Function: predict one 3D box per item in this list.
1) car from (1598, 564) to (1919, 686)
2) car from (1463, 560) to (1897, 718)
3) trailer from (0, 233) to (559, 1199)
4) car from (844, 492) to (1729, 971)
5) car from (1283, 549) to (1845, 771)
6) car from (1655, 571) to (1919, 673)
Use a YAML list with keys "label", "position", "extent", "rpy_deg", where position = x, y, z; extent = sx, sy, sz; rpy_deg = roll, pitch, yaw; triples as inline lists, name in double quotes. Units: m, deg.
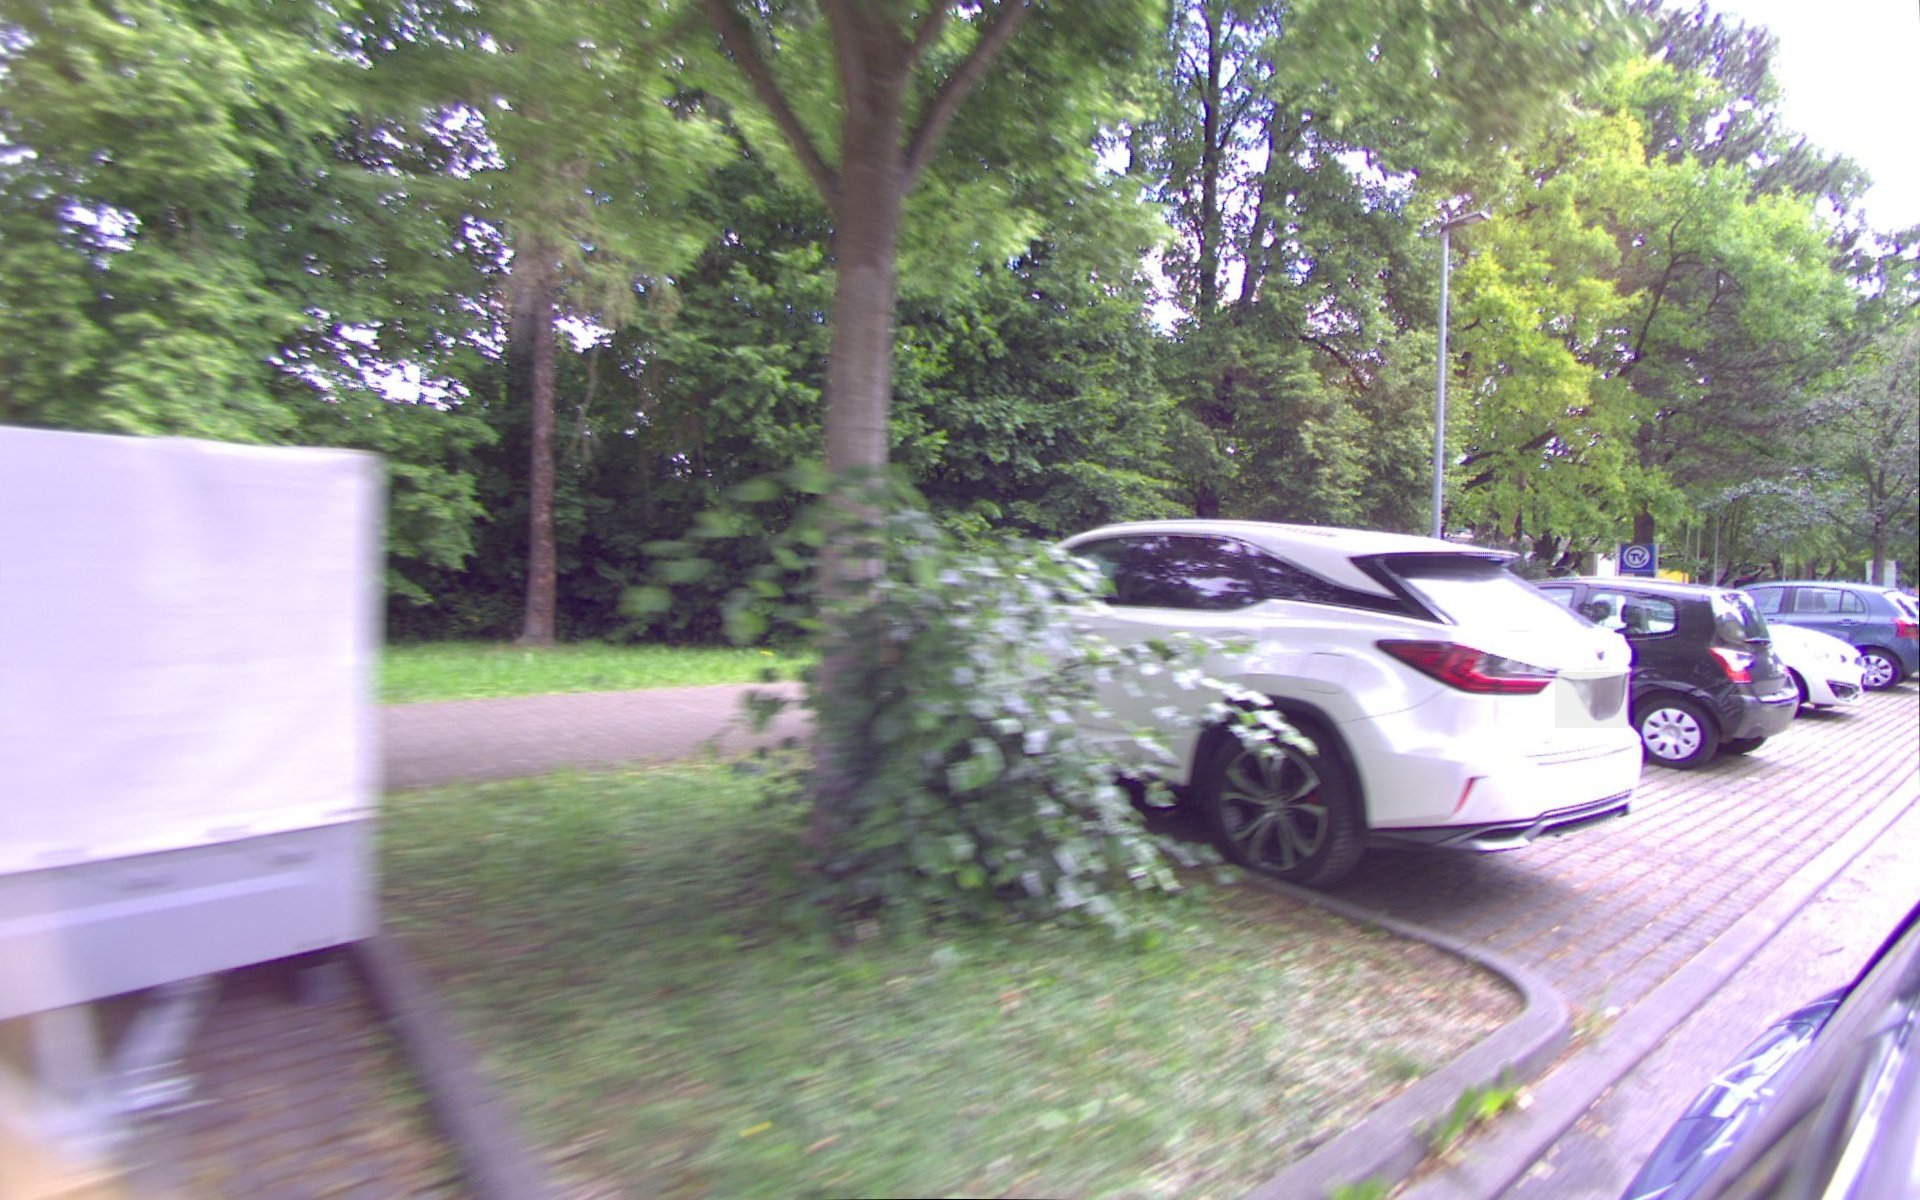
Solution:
- label: "car"
  position: [12.597, 0.280, 15.766]
  extent: [1.755, 1.589, 4.143]
  rpy_deg: [-1, 3, -41]
- label: "car"
  position: [8.866, 0.335, 12.736]
  extent: [1.756, 1.589, 4.163]
  rpy_deg: [-1, 3, -44]
- label: "trailer"
  position: [-2.353, 0.308, 2.529]
  extent: [1.537, 1.812, 3.035]
  rpy_deg: [-1, 4, -42]
- label: "car"
  position: [1.361, 0.310, 6.124]
  extent: [1.937, 1.713, 4.835]
  rpy_deg: [0, 4, -36]
- label: "car"
  position: [5.413, 0.350, 9.589]
  extent: [1.817, 1.589, 4.171]
  rpy_deg: [0, 3, -38]
- label: "car"
  position: [14.604, 0.306, 17.357]
  extent: [1.755, 1.482, 4.094]
  rpy_deg: [-1, 3, -41]
